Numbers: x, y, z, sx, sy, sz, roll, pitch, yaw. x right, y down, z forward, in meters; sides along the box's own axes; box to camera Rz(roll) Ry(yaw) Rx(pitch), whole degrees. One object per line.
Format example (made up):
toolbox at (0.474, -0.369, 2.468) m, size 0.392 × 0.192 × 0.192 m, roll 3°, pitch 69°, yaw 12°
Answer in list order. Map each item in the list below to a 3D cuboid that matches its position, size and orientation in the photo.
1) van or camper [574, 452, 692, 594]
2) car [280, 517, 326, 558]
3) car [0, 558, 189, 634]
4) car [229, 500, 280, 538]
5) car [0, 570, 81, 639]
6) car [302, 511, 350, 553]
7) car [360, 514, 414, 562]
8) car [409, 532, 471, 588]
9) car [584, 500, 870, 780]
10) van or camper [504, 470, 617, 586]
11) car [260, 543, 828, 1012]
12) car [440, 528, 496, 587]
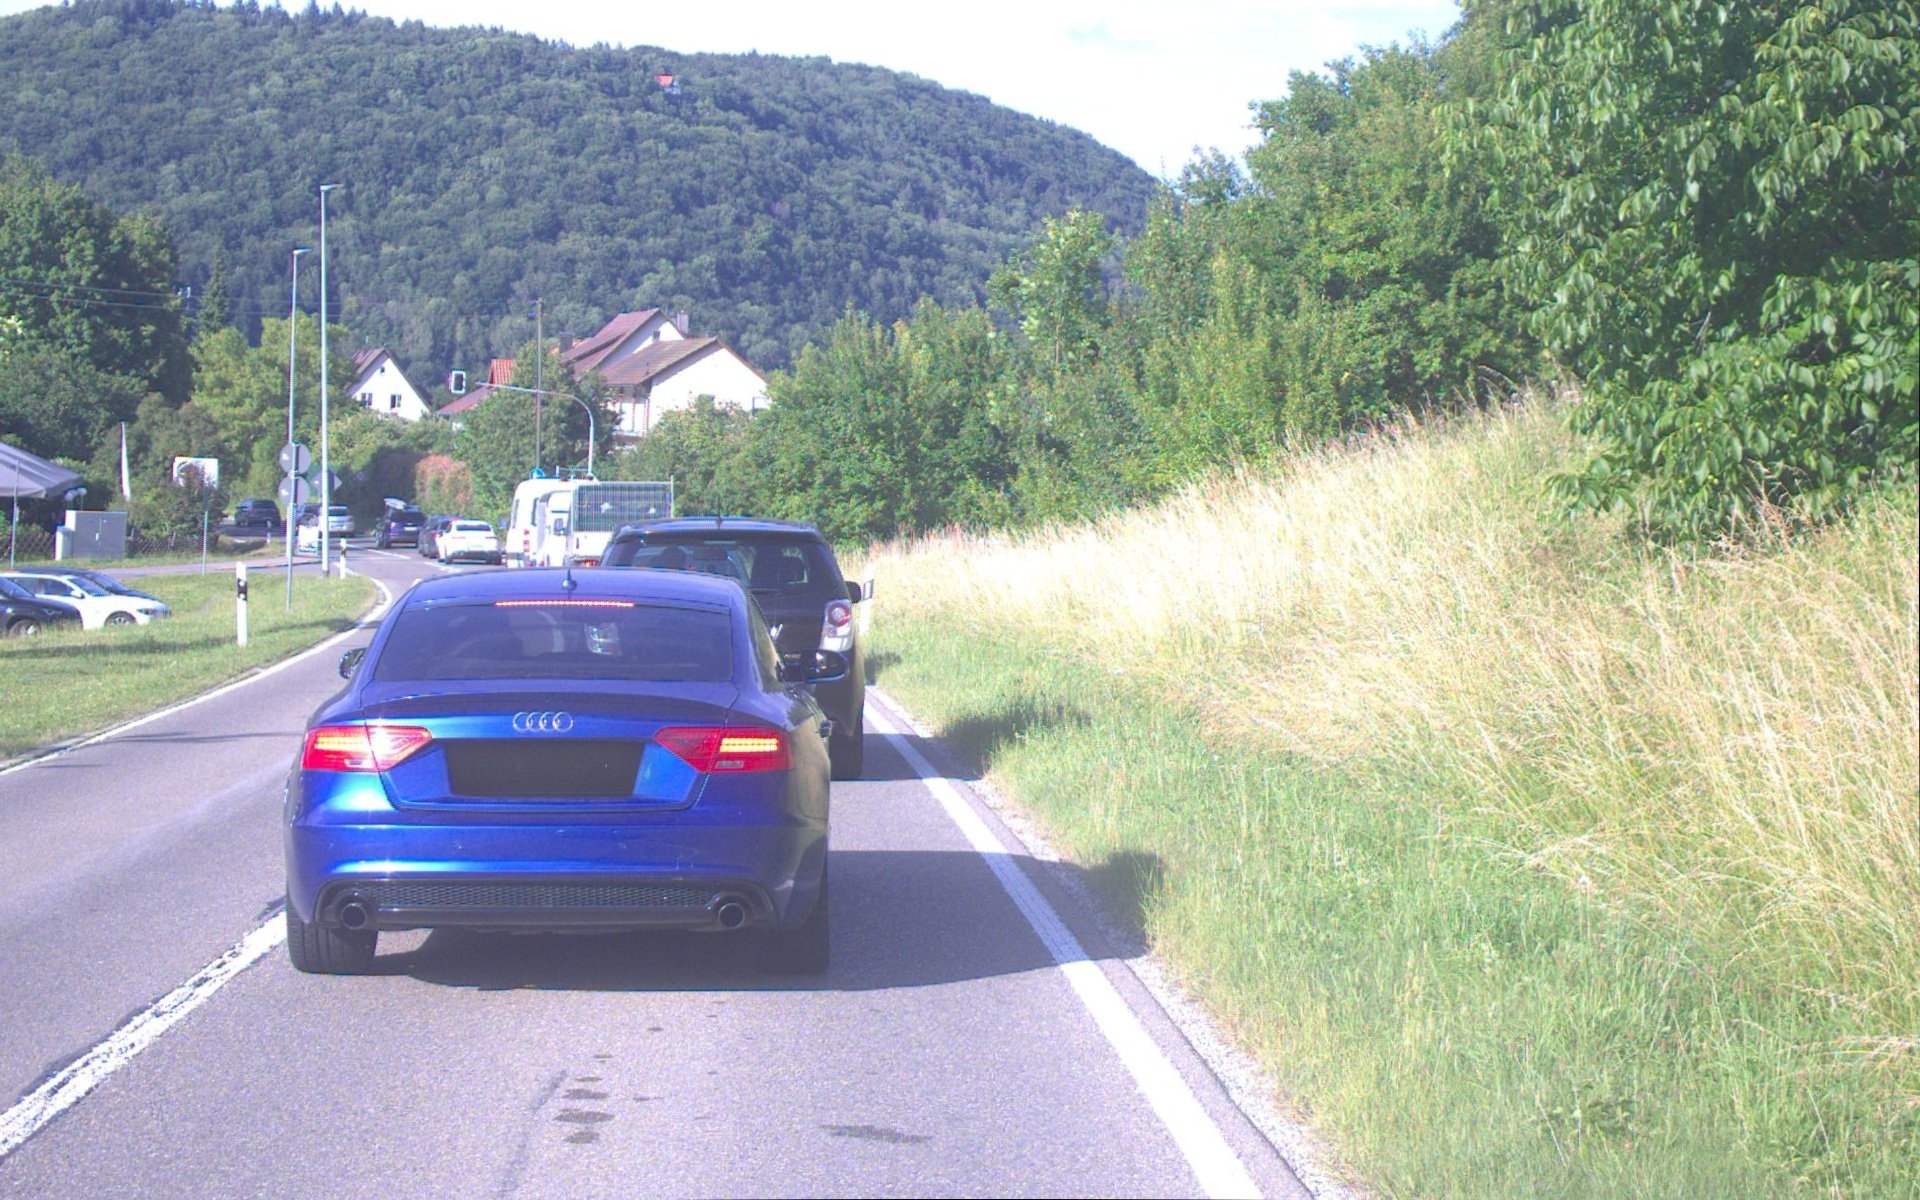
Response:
van or camper at (-6.091, -1.400, 63.564) m, size 2.051 × 2.497 × 5.813 m, roll 0°, pitch 1°, yaw -6°
car at (-31.868, -3.021, 166.671) m, size 1.676 × 1.918 × 4.001 m, roll -1°, pitch 1°, yaw -18°
car at (-19.590, -0.099, 77.409) m, size 4.036 × 1.655 × 1.655 m, roll 0°, pitch 1°, yaw 7°
car at (-36.814, -4.204, 179.437) m, size 1.954 × 1.918 × 4.001 m, roll -1°, pitch 1°, yaw -21°
car at (-20.752, 0.102, 73.032) m, size 3.713 × 1.434 × 1.509 m, roll 0°, pitch 1°, yaw 7°
car at (-29.230, -3.124, 158.473) m, size 1.676 × 1.918 × 4.001 m, roll -1°, pitch 1°, yaw -18°
car at (-23.542, -2.534, 141.090) m, size 1.676 × 1.918 × 4.001 m, roll -1°, pitch 1°, yaw -17°
car at (-18.271, -1.398, 120.668) m, size 1.659 × 1.918 × 4.001 m, roll 0°, pitch 1°, yaw -16°
car at (-1.549, 0.210, 22.182) m, size 1.645 × 1.619 × 3.518 m, roll 2°, pitch 1°, yaw -5°
van or camper at (-9.741, -1.728, 83.402) m, size 2.280 × 2.704 × 5.769 m, roll 0°, pitch 1°, yaw -11°
car at (-1.370, 0.523, 12.386) m, size 1.742 × 1.445 × 3.517 m, roll 0°, pitch 1°, yaw -3°
car at (-16.232, -1.407, 113.307) m, size 1.659 × 1.918 × 4.001 m, roll 0°, pitch 1°, yaw -11°
